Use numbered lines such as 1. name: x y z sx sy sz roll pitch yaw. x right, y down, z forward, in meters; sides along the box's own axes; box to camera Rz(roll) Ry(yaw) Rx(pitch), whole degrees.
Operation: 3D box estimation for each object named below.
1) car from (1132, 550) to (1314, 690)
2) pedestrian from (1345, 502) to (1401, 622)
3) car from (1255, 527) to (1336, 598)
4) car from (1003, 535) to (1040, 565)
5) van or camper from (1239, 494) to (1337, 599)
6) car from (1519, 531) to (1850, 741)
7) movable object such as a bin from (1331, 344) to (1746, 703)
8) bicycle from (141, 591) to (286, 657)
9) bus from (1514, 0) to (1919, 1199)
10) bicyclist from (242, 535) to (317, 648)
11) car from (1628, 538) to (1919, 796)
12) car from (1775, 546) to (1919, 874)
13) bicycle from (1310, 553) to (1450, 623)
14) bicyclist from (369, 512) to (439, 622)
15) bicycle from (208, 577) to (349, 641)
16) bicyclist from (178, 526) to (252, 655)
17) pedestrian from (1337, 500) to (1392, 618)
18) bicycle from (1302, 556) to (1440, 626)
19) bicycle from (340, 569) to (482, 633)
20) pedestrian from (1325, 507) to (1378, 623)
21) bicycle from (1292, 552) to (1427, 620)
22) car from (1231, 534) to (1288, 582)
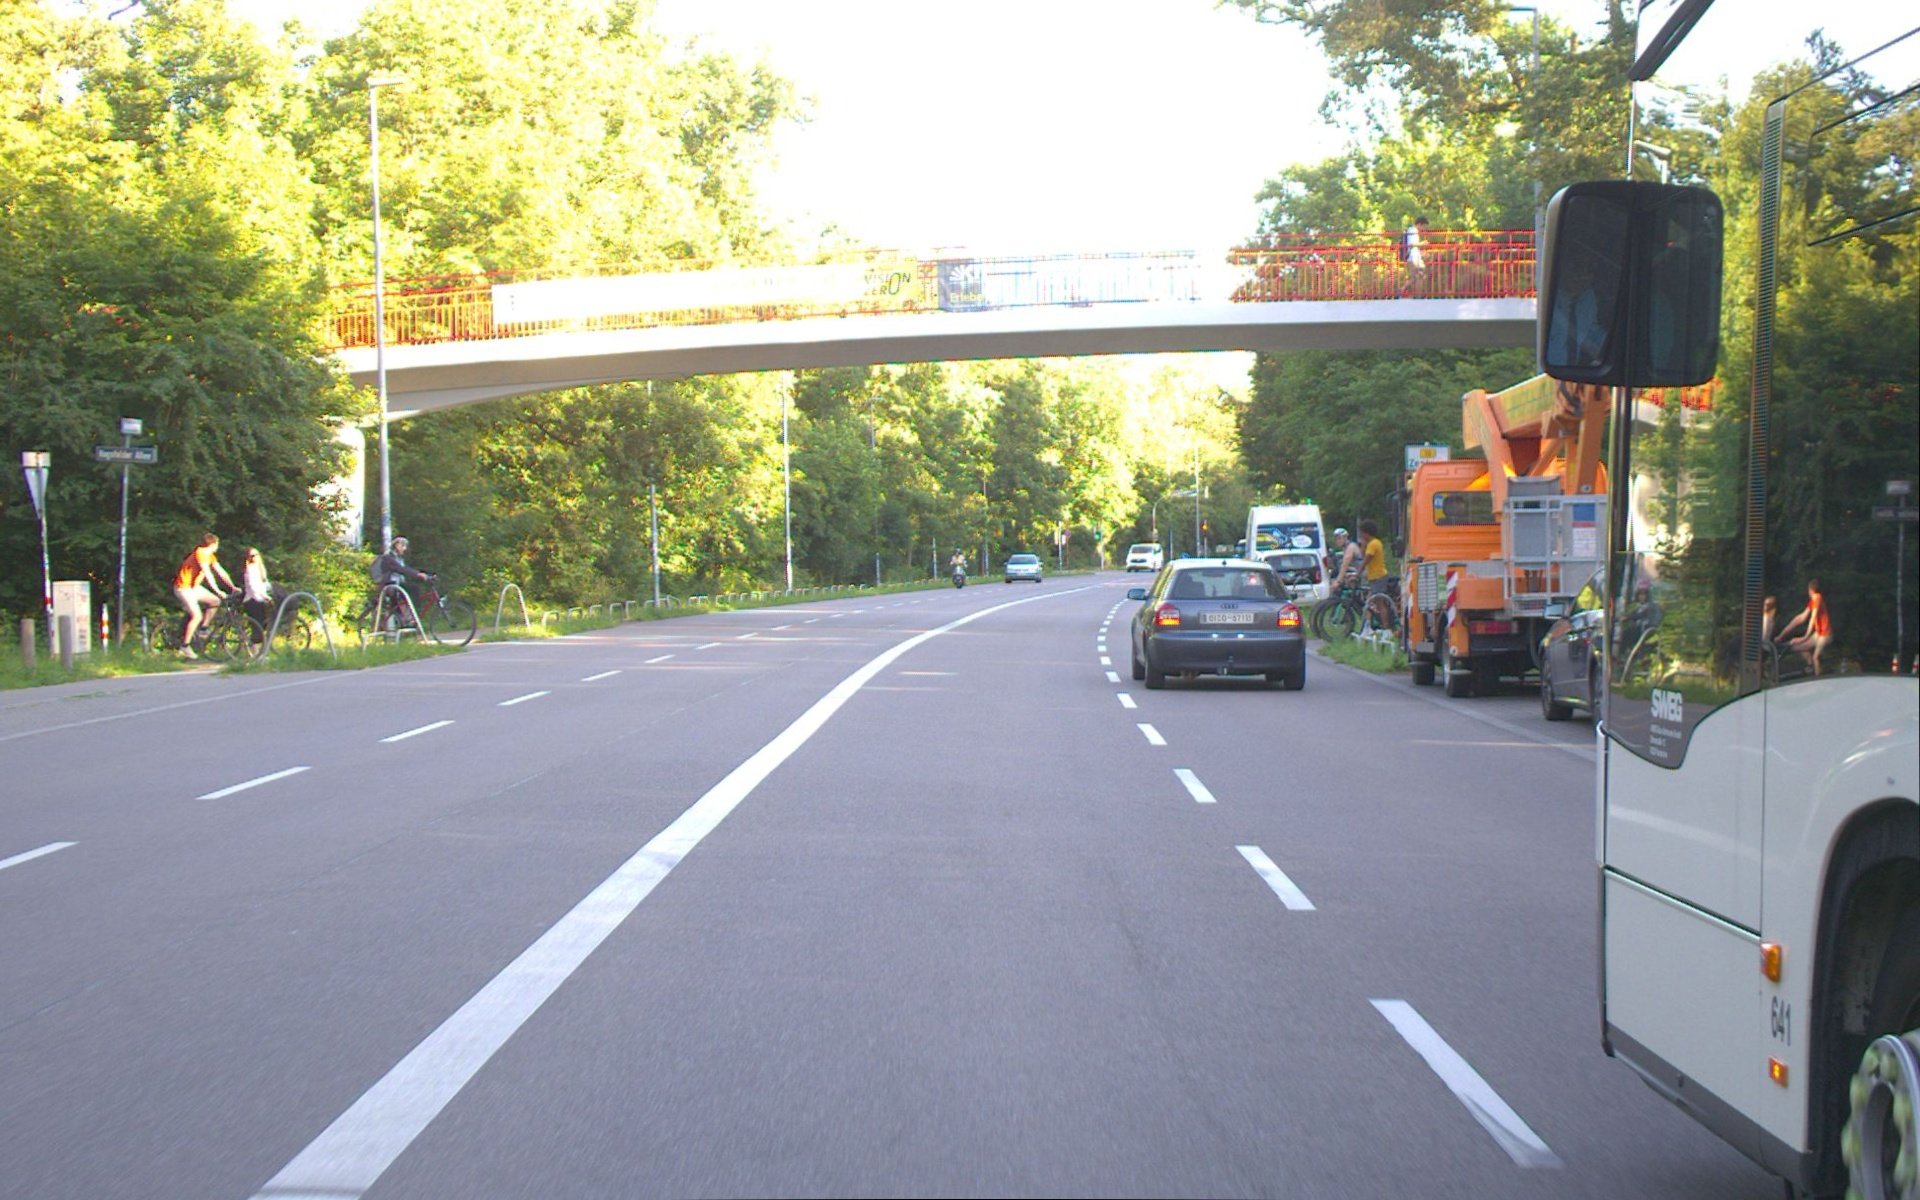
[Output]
1. car: 2.842 0.179 37.797 1.728 1.436 4.090 0 1 1
2. pedestrian: 6.449 -0.604 53.716 0.699 1.846 0.939 -1 1 -2
3. car: 7.320 -0.832 74.974 1.723 1.491 3.774 0 1 6
4. car: 3.092 -2.504 171.838 1.681 1.402 3.889 -2 1 3
5. van or camper: 8.183 -1.354 86.165 2.119 2.509 5.980 -1 1 3
6. car: 5.783 0.236 27.895 1.727 1.569 4.090 0 1 -1
7. movable object such as a bin: 5.883 -0.801 36.281 2.758 3.359 7.601 -1 1 -2
8. bicycle: -11.149 0.356 51.351 1.927 0.931 0.824 -1 1 11
9. bus: 2.862 -0.123 2.900 2.704 3.211 12.280 0 1 0
10. bicyclist: -10.398 -0.137 52.518 0.796 1.691 0.945 -1 1 11
11. car: 5.795 0.375 23.085 1.727 1.569 4.090 0 1 -1
12. car: 5.554 0.523 17.091 1.838 1.568 4.460 -1 1 -1
13. bicycle: 6.560 -0.192 53.709 2.061 1.064 0.870 0 1 -2
14. bicyclist: -8.374 -0.503 51.803 0.796 1.638 0.841 0 1 11
15. bicycle: -10.404 0.133 52.520 1.927 0.931 0.824 -1 1 11
16. bicyclist: -11.119 -0.146 51.343 0.796 1.894 0.817 -1 1 11
17. pedestrian: 6.431 -0.655 54.697 0.699 1.846 0.939 -1 1 -2
18. bicycle: 6.530 -0.147 54.670 2.061 1.064 0.870 -1 1 -2
19. bicycle: -8.268 0.009 51.780 1.927 0.931 0.824 -1 1 12
20. pedestrian: 6.356 -0.570 55.814 0.699 1.846 0.939 -1 1 -2
21. bicycle: 6.476 -0.227 55.806 2.061 1.064 0.870 -1 1 -2
22. car: 9.737 -1.379 111.486 1.728 1.436 4.100 -3 1 6
